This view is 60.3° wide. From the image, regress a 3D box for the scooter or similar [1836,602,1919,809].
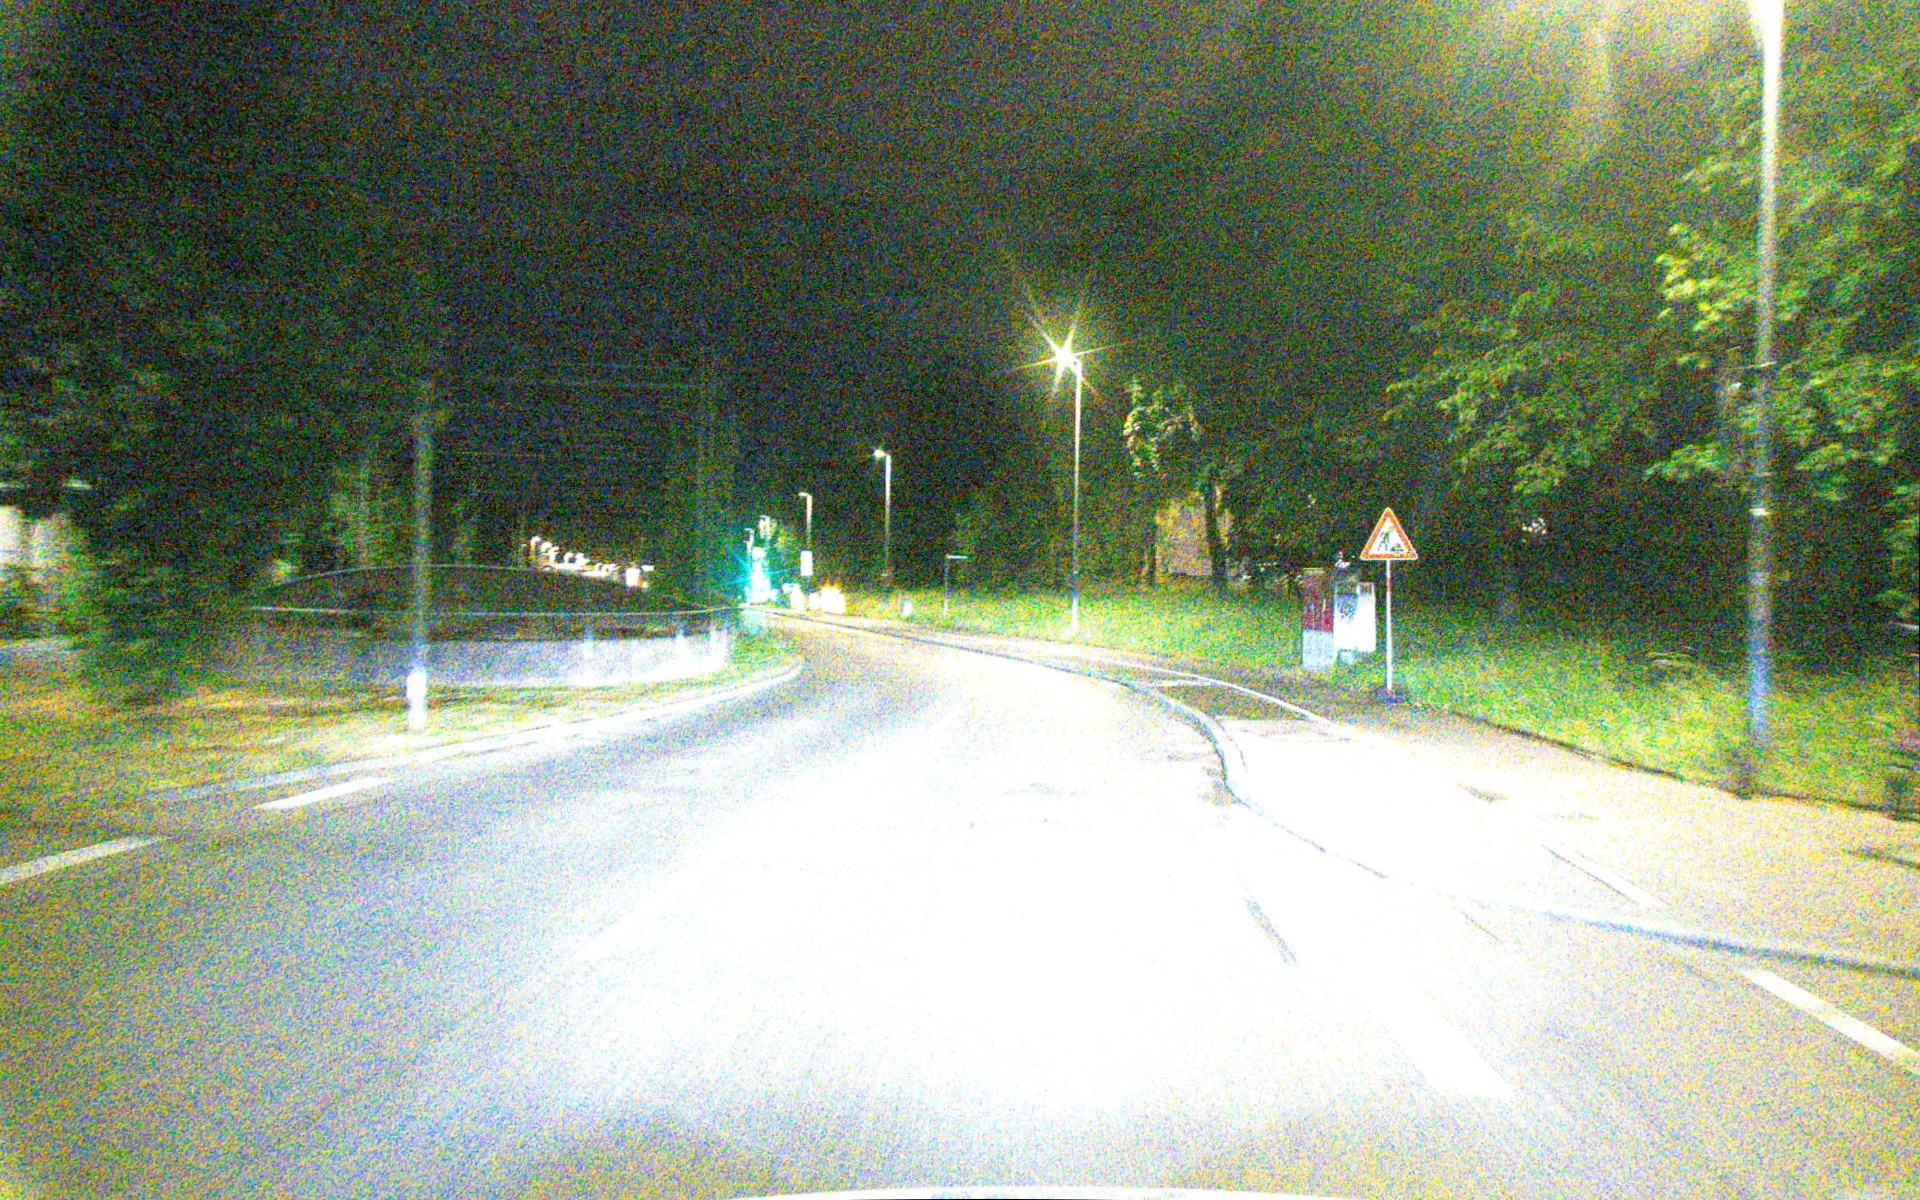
[{"bbox_3d":[6.483,0.693,10.503,0.602,1.303,1.683,1,1,-16],"label":"scooter or similar"}]
